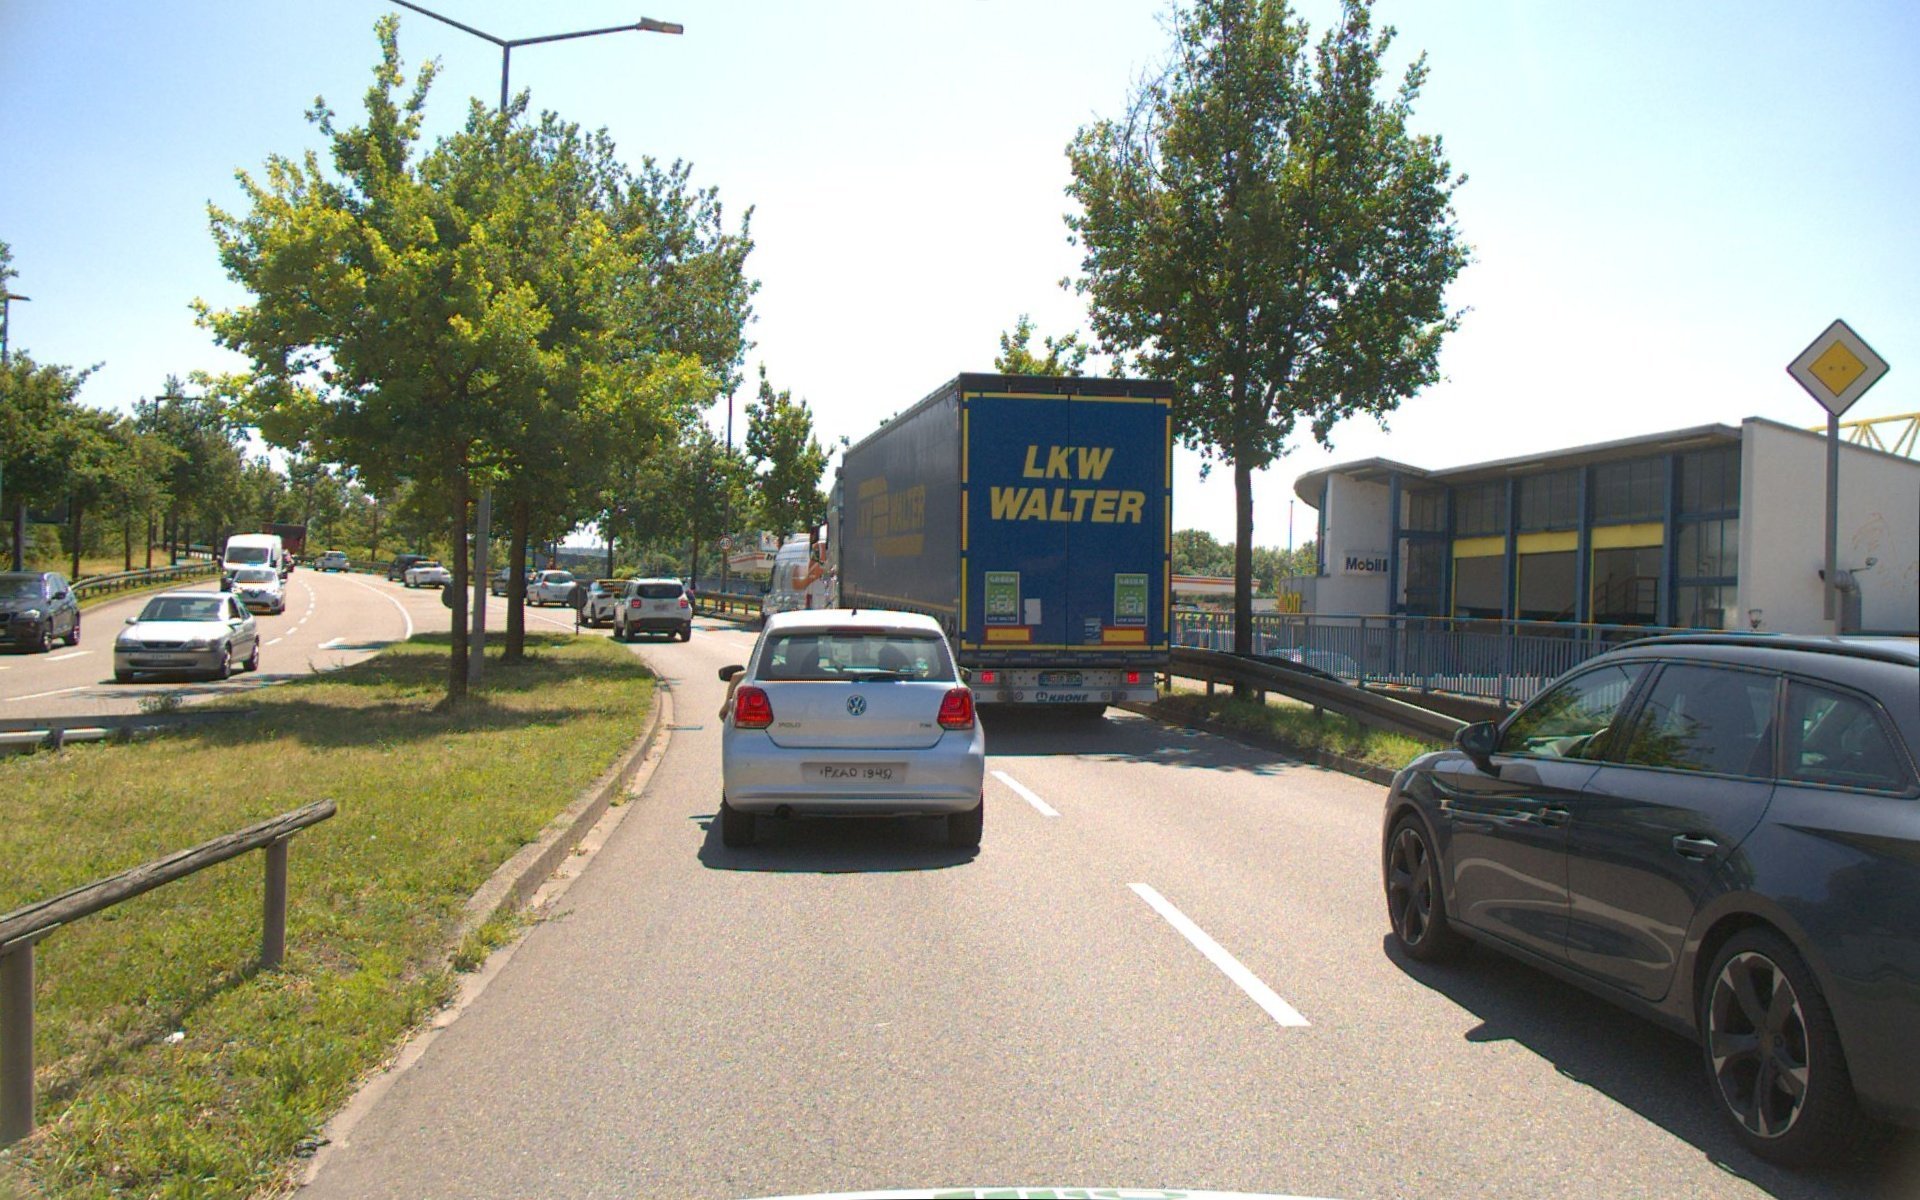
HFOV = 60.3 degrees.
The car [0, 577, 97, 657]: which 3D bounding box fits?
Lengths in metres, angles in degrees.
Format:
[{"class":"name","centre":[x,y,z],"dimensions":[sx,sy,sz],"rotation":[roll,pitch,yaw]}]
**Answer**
[{"class":"car","centre":[-20.596,0.359,36.646],"dimensions":[1.463,1.661,4.458],"rotation":[1,-1,-13]}]

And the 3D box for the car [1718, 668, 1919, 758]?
[{"class":"car","centre":[16.151,1.996,29.206],"dimensions":[4.967,1.381,1.998],"rotation":[1,-1,27]}]

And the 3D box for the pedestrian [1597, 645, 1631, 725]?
[{"class":"pedestrian","centre":[14.396,1.870,36.415],"dimensions":[0.418,1.732,0.587],"rotation":[1,-1,-13]}]

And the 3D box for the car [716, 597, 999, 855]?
[{"class":"car","centre":[-0.692,0.753,11.397],"dimensions":[1.613,1.464,3.534],"rotation":[1,-1,-3]}]

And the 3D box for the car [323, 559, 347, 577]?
[{"class":"car","centre":[-44.329,-2.268,117.295],"dimensions":[1.305,1.158,2.970],"rotation":[2,-1,-26]}]

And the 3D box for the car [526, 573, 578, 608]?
[{"class":"car","centre":[-17.019,-0.398,68.951],"dimensions":[1.585,1.384,3.638],"rotation":[2,0,-22]}]

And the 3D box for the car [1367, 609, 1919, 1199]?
[{"class":"car","centre":[2.933,0.795,5.681],"dimensions":[1.574,1.481,4.228],"rotation":[1,-1,-7]}]

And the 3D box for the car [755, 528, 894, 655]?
[{"class":"car","centre":[-3.571,-0.284,42.342],"dimensions":[2.141,2.951,6.328],"rotation":[2,1,-17]}]

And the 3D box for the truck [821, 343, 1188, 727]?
[{"class":"truck","centre":[-0.151,-0.764,26.868],"dimensions":[2.781,4.272,16.437],"rotation":[2,0,-10]}]

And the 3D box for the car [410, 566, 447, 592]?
[{"class":"car","centre":[-28.707,-1.123,89.329],"dimensions":[1.438,1.337,3.609],"rotation":[2,-1,-25]}]

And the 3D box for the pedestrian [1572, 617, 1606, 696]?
[{"class":"pedestrian","centre":[14.021,1.248,36.853],"dimensions":[0.512,1.732,0.487],"rotation":[1,-1,-12]}]

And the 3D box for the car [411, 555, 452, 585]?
[{"class":"car","centre":[-28.585,-1.603,89.398],"dimensions":[1.644,1.490,3.552],"rotation":[2,-1,-25]}]

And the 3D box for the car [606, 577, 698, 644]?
[{"class":"car","centre":[-8.663,0.280,46.232],"dimensions":[1.875,1.748,4.199],"rotation":[2,-1,-19]}]

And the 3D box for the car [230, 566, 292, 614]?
[{"class":"car","centre":[-24.151,-0.314,57.268],"dimensions":[1.609,1.594,4.052],"rotation":[0,0,-18]}]

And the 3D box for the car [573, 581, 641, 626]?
[{"class":"car","centre":[-11.432,0.094,53.430],"dimensions":[1.474,1.384,3.637],"rotation":[2,0,-22]}]

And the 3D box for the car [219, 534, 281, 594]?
[{"class":"car","centre":[-31.333,-1.611,73.149],"dimensions":[2.062,2.544,5.778],"rotation":[0,1,-19]}]

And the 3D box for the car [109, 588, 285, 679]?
[{"class":"car","centre":[-12.893,0.544,28.215],"dimensions":[1.604,1.427,4.213],"rotation":[0,0,-9]}]

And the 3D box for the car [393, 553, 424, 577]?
[{"class":"car","centre":[-33.196,-2.078,99.565],"dimensions":[1.399,1.337,3.311],"rotation":[2,-1,-25]}]
